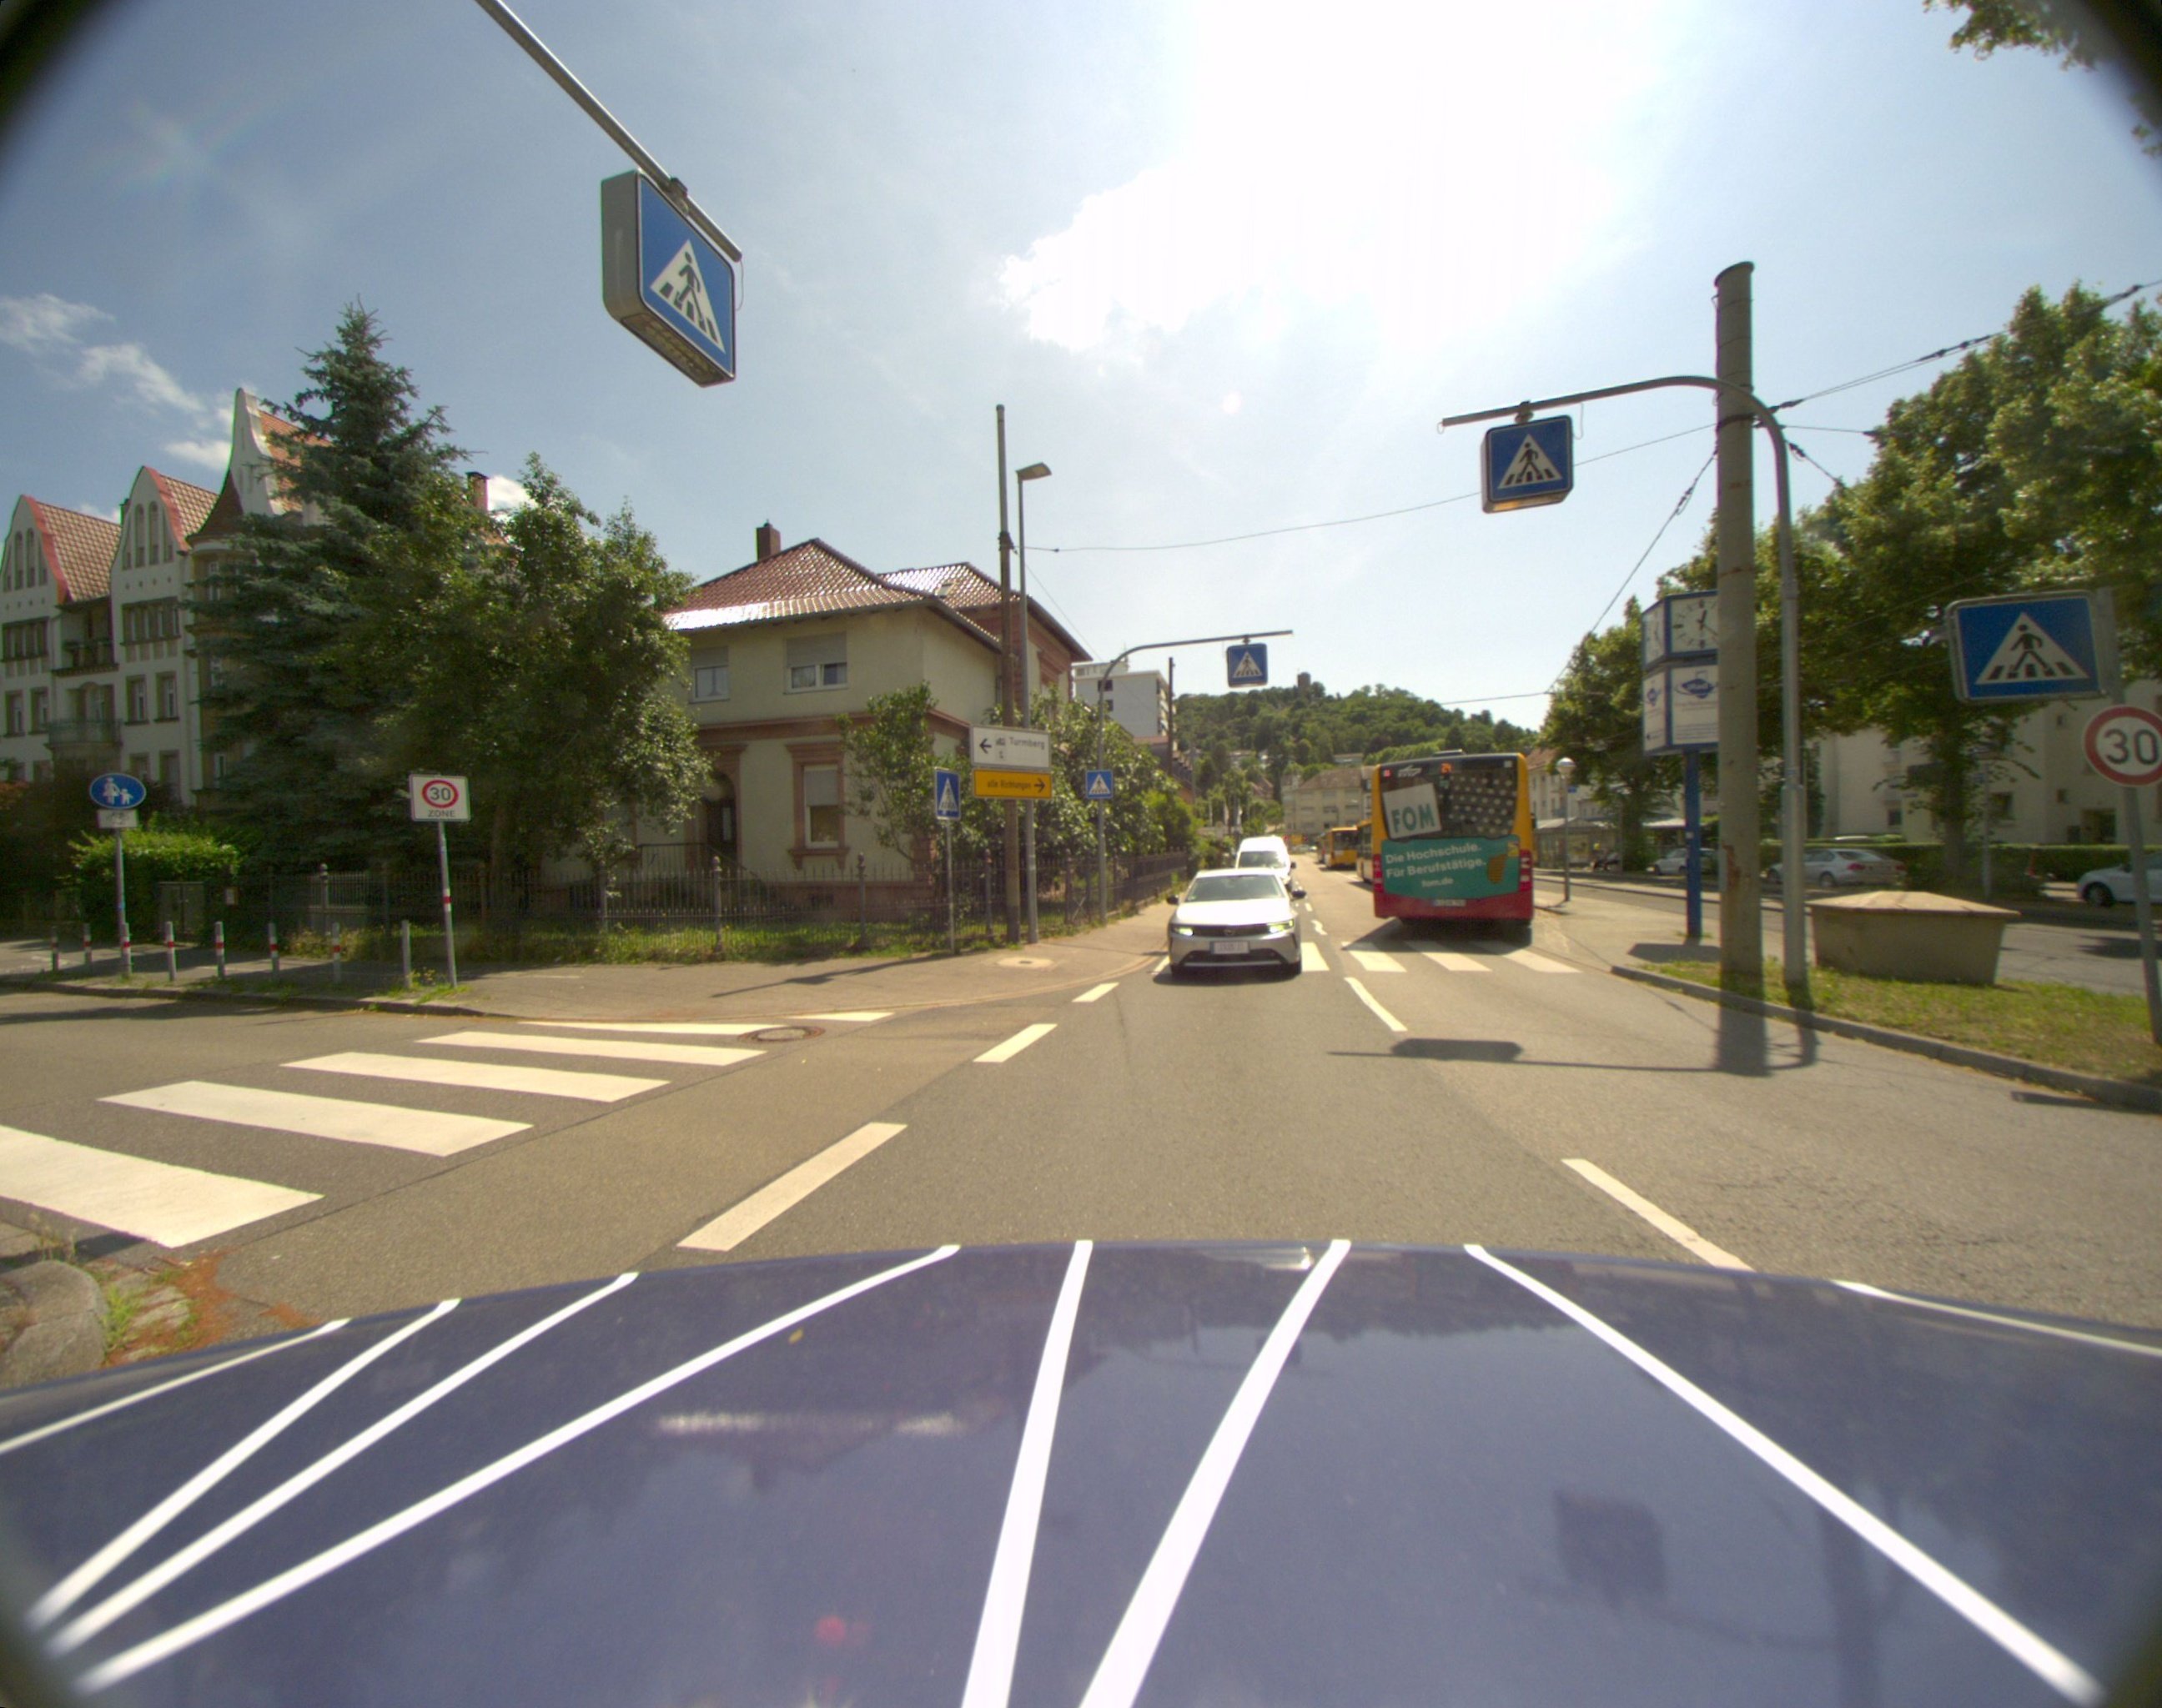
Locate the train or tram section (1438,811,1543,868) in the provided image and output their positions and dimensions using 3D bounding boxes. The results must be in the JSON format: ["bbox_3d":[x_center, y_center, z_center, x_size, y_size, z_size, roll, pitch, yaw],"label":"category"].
[{"bbox_3d":[28.786,-1.016,54.341,2.894,3.500,13.914,-2,1,13],"label":"train or tram section"}]

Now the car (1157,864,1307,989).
[{"bbox_3d":[2.385,0.958,11.599,1.799,1.457,4.175,-2,0,14],"label":"car"}]

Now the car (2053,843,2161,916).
[{"bbox_3d":[23.338,0.532,15.744,1.842,1.474,3.959,-1,0,13],"label":"car"}]

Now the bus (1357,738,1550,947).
[{"bbox_3d":[8.913,-0.209,17.178,2.701,3.277,10.879,-2,0,32],"label":"bus"}]

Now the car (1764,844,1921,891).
[{"bbox_3d":[26.083,0.415,26.268,1.842,1.474,4.262,-1,0,13],"label":"car"}]

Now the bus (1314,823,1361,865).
[{"bbox_3d":[20.995,-0.775,62.700,2.572,3.170,10.165,-1,0,13],"label":"bus"}]

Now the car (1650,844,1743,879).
[{"bbox_3d":[28.561,0.311,35.405,1.842,1.474,3.876,-1,0,13],"label":"car"}]

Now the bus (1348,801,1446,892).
[{"bbox_3d":[14.700,-0.309,36.315,2.692,3.586,12.221,-1,0,15],"label":"bus"}]

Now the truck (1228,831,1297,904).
[{"bbox_3d":[6.310,0.430,26.336,2.018,2.236,5.413,-2,0,14],"label":"truck"}]
